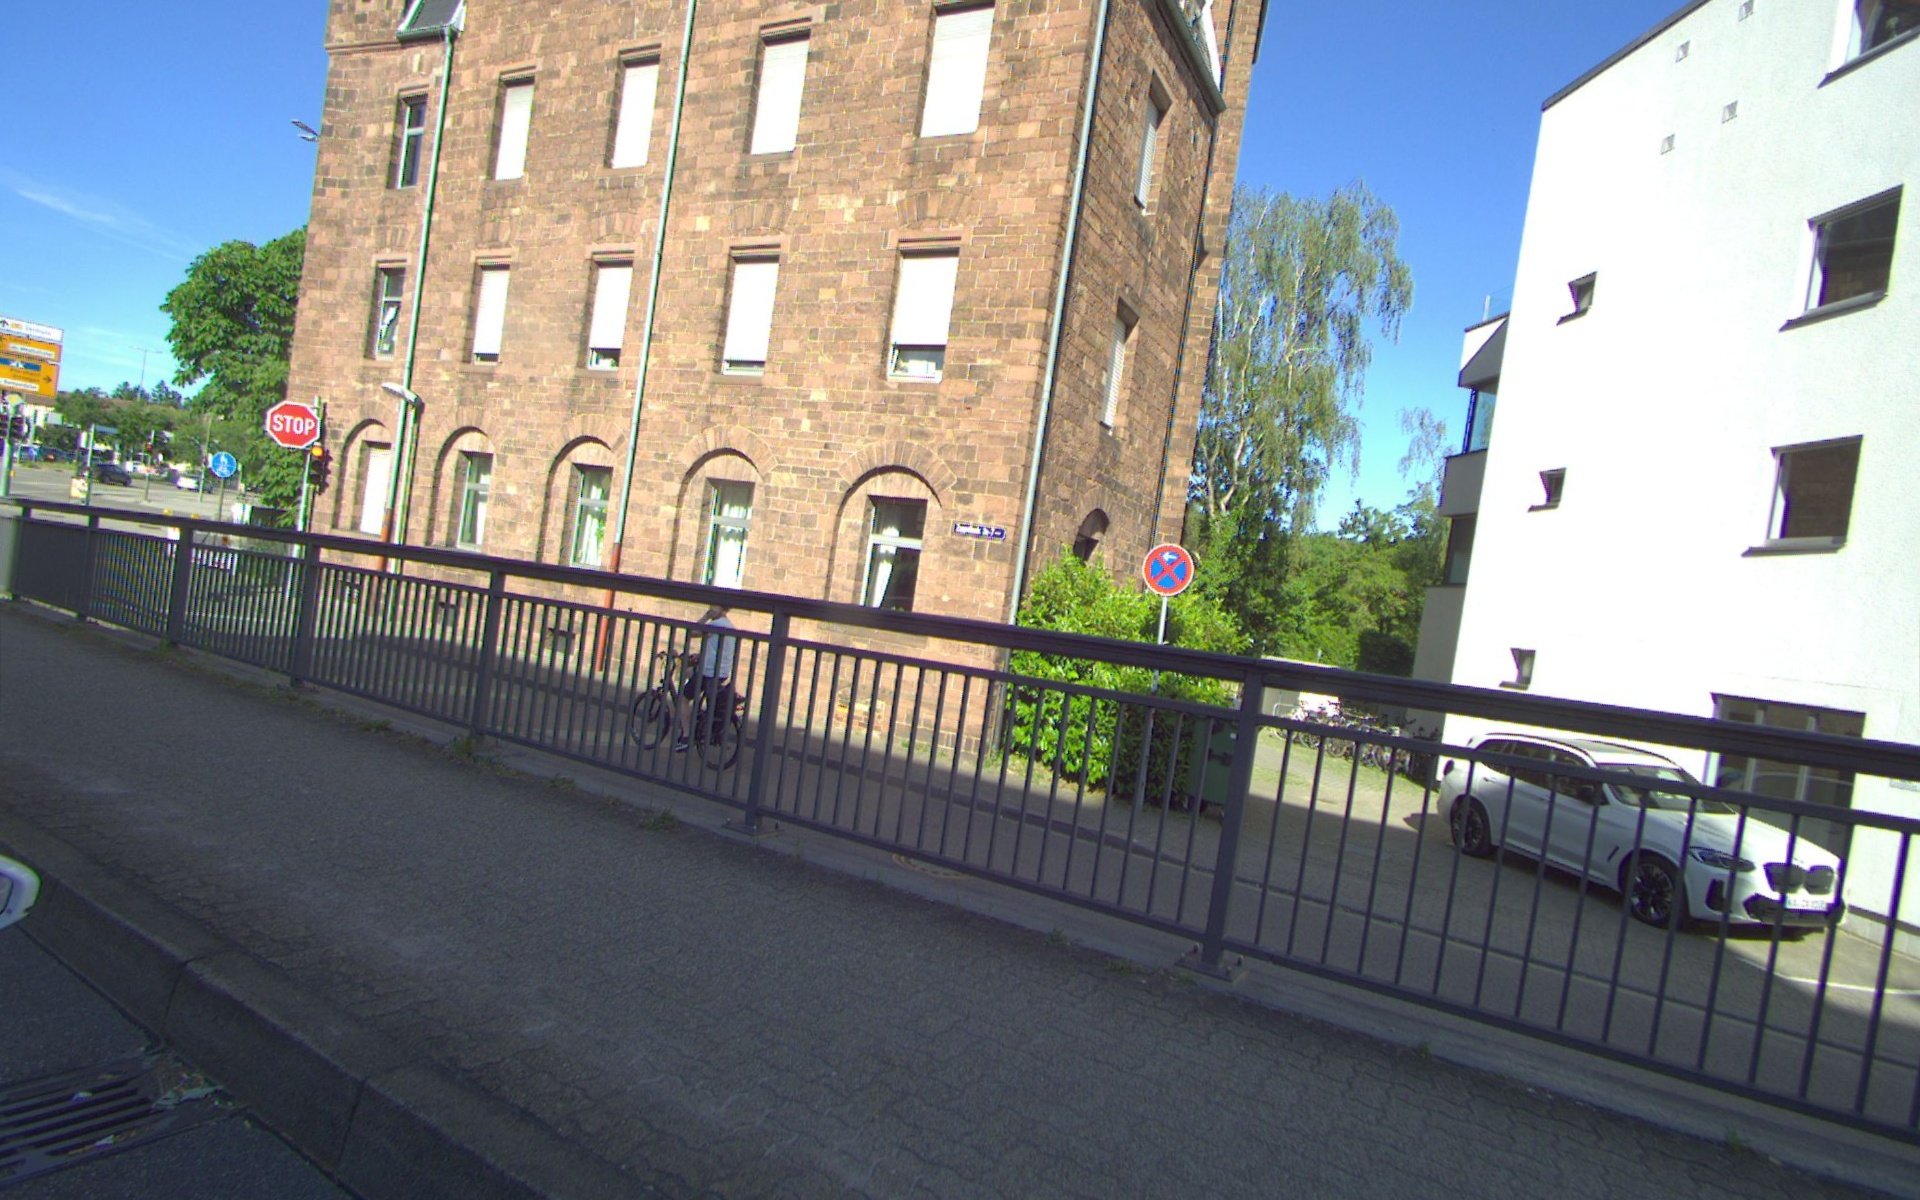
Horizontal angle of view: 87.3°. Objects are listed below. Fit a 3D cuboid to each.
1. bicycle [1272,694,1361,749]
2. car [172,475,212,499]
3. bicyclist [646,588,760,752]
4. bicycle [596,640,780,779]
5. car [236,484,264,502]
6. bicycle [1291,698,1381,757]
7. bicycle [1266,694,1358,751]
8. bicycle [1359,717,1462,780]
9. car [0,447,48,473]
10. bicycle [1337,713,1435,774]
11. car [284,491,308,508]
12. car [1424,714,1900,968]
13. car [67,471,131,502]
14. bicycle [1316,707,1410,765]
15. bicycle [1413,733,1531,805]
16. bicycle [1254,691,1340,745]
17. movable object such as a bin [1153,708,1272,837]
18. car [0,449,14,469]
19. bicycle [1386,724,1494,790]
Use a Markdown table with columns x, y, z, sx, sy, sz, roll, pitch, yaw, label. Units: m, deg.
| x | y | z | sx | sy | sz | roll | pitch | yaw | label |
| --- | --- | --- | --- | --- | --- | --- | --- | --- | --- |
| 9.652 | 3.292 | 27.235 | 2.075 | 1.174 | 0.664 | 8 | 1 | -10 | bicycle |
| -66.891 | -9.834 | 87.677 | 1.868 | 1.650 | 3.974 | 8 | 0 | -25 | car |
| -2.778 | 0.757 | 10.906 | 0.684 | 1.627 | 0.687 | 9 | 0 | 28 | bicyclist |
| -2.980 | 1.168 | 10.984 | 1.806 | 1.154 | 0.689 | 9 | 0 | 28 | bicycle |
| -85.216 | -12.805 | 120.795 | 1.867 | 1.565 | 3.978 | 8 | -2 | -25 | car |
| 9.432 | 3.189 | 25.267 | 1.889 | 1.174 | 0.664 | 8 | 1 | -7 | bicycle |
| 9.162 | 3.188 | 26.198 | 2.075 | 1.174 | 0.664 | 8 | 1 | -10 | bicycle |
| 9.926 | 3.268 | 22.190 | 1.889 | 1.065 | 0.664 | 8 | 1 | -7 | bicycle |
| -78.761 | -11.746 | 84.464 | 1.860 | 1.598 | 3.977 | 8 | 1 | -22 | car |
| 9.762 | 3.285 | 23.077 | 1.889 | 1.065 | 0.664 | 8 | 1 | -7 | bicycle |
| -81.045 | -12.253 | 122.828 | 1.723 | 1.516 | 3.976 | 7 | -1 | -25 | car |
| 7.867 | 2.610 | 11.973 | 1.814 | 1.707 | 4.520 | 8 | 0 | -10 | car |
| -61.941 | -8.164 | 72.456 | 1.862 | 1.650 | 3.986 | 8 | 0 | -15 | car |
| 9.646 | 3.250 | 24.103 | 1.889 | 1.065 | 0.664 | 8 | 1 | -7 | bicycle |
| 9.994 | 3.293 | 19.647 | 1.889 | 1.065 | 0.664 | 8 | 1 | -7 | bicycle |
| 9.400 | 3.290 | 28.085 | 2.075 | 1.174 | 0.664 | 8 | 1 | -10 | bicycle |
| 3.091 | 2.058 | 12.268 | 1.011 | 1.307 | 1.005 | 10 | 0 | 29 | movable object such as a bin |
| -82.891 | -12.244 | 85.699 | 1.860 | 1.598 | 3.977 | 8 | 1 | -22 | car |
| 10.140 | 3.315 | 21.278 | 1.889 | 1.065 | 0.664 | 8 | 1 | -7 | bicycle |
